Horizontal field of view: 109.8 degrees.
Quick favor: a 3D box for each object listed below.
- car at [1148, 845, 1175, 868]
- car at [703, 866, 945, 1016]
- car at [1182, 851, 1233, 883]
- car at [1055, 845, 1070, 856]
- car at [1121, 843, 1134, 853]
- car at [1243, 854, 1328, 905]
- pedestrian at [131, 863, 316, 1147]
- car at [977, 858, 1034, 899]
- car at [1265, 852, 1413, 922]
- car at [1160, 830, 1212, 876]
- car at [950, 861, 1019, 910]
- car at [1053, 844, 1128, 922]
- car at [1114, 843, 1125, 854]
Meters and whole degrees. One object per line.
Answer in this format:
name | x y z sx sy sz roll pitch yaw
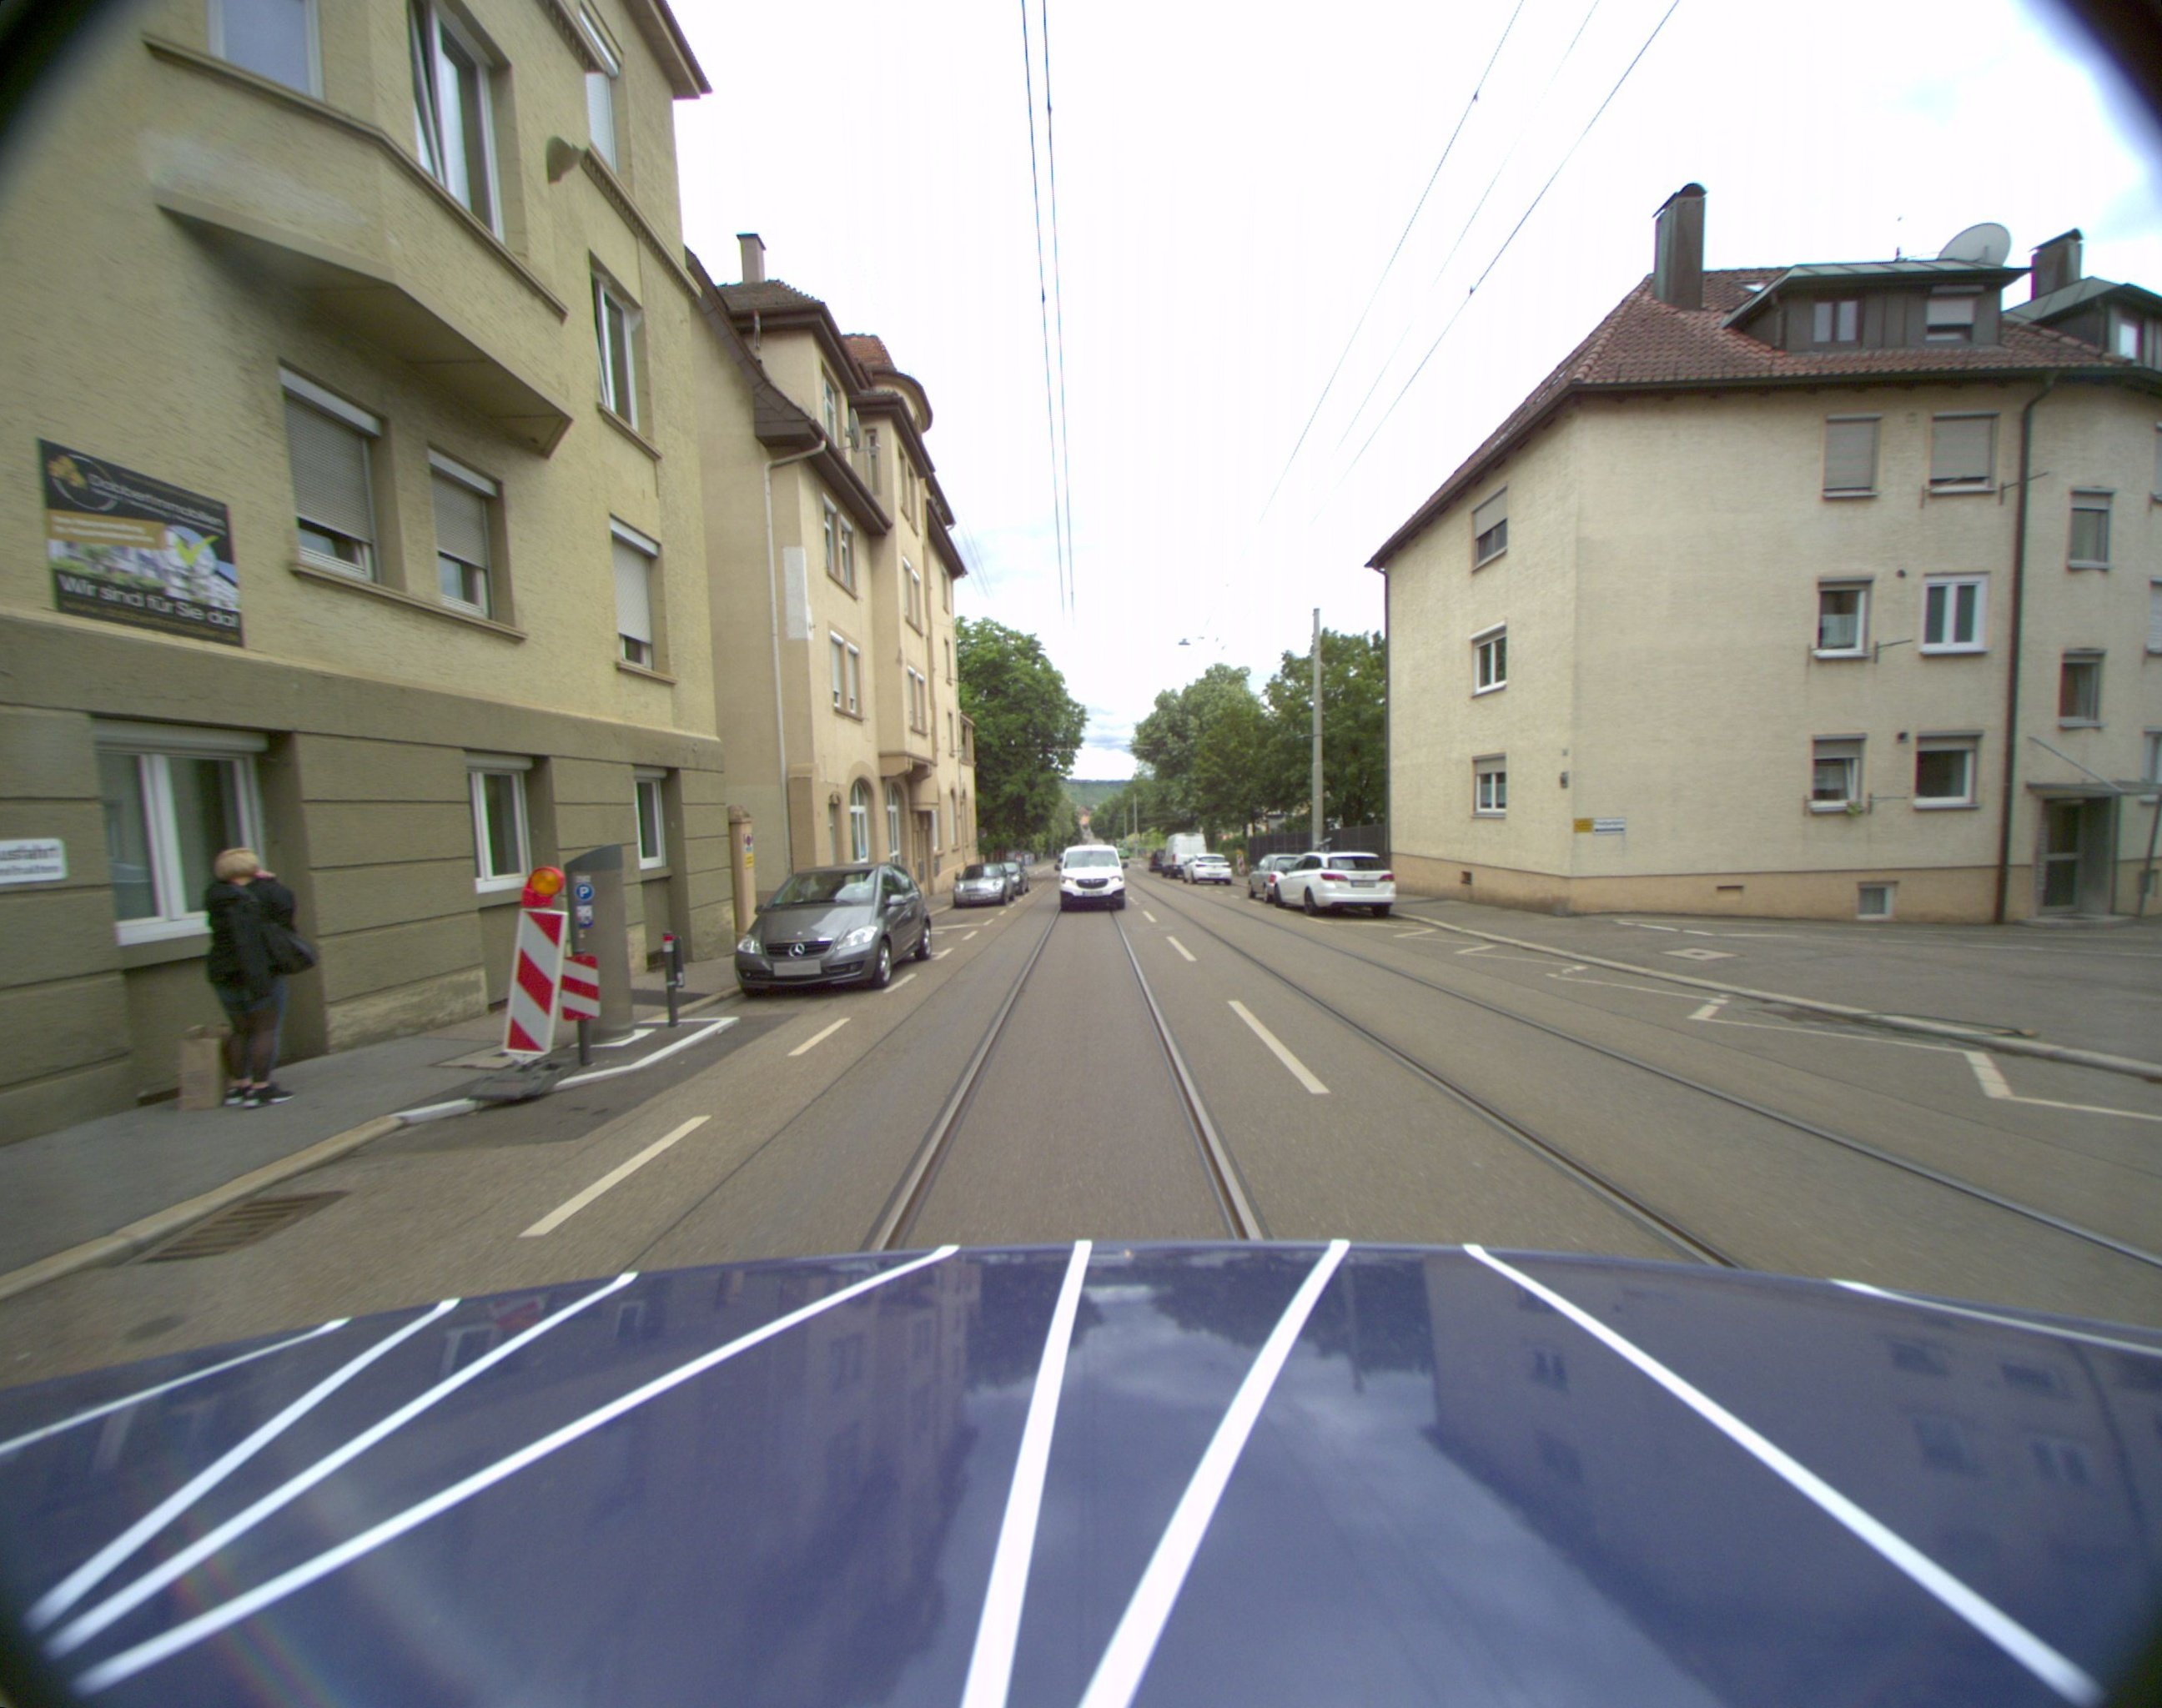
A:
car | 6.356 0.177 60.499 1.766 1.765 4.668 1 1 2
car | -3.278 1.017 10.643 1.832 1.510 4.028 -4 0 1
car | 5.897 0.563 35.932 1.723 1.395 4.313 1 0 1
car | -2.780 -0.508 114.150 1.863 1.434 4.388 -5 1 1
car | 7.398 -0.901 121.249 1.856 1.532 3.948 -2 0 1
car | 6.024 0.691 22.778 1.604 1.360 3.807 2 0 2
pedestrian | -5.371 0.919 4.796 0.542 1.673 0.516 2 3 -8
car | -3.080 0.964 31.738 1.844 1.395 4.166 -4 1 1
car | 5.973 0.693 18.234 1.832 1.420 4.626 1 0 -1
car | 6.227 -0.067 45.989 2.164 2.591 6.218 1 0 -1
car | -3.215 1.024 25.847 1.699 1.396 3.667 -4 0 1
car | 0.315 0.675 20.689 1.759 1.824 4.448 -2 1 2
car | 7.126 -1.035 140.862 1.901 1.935 4.290 -1 1 1
